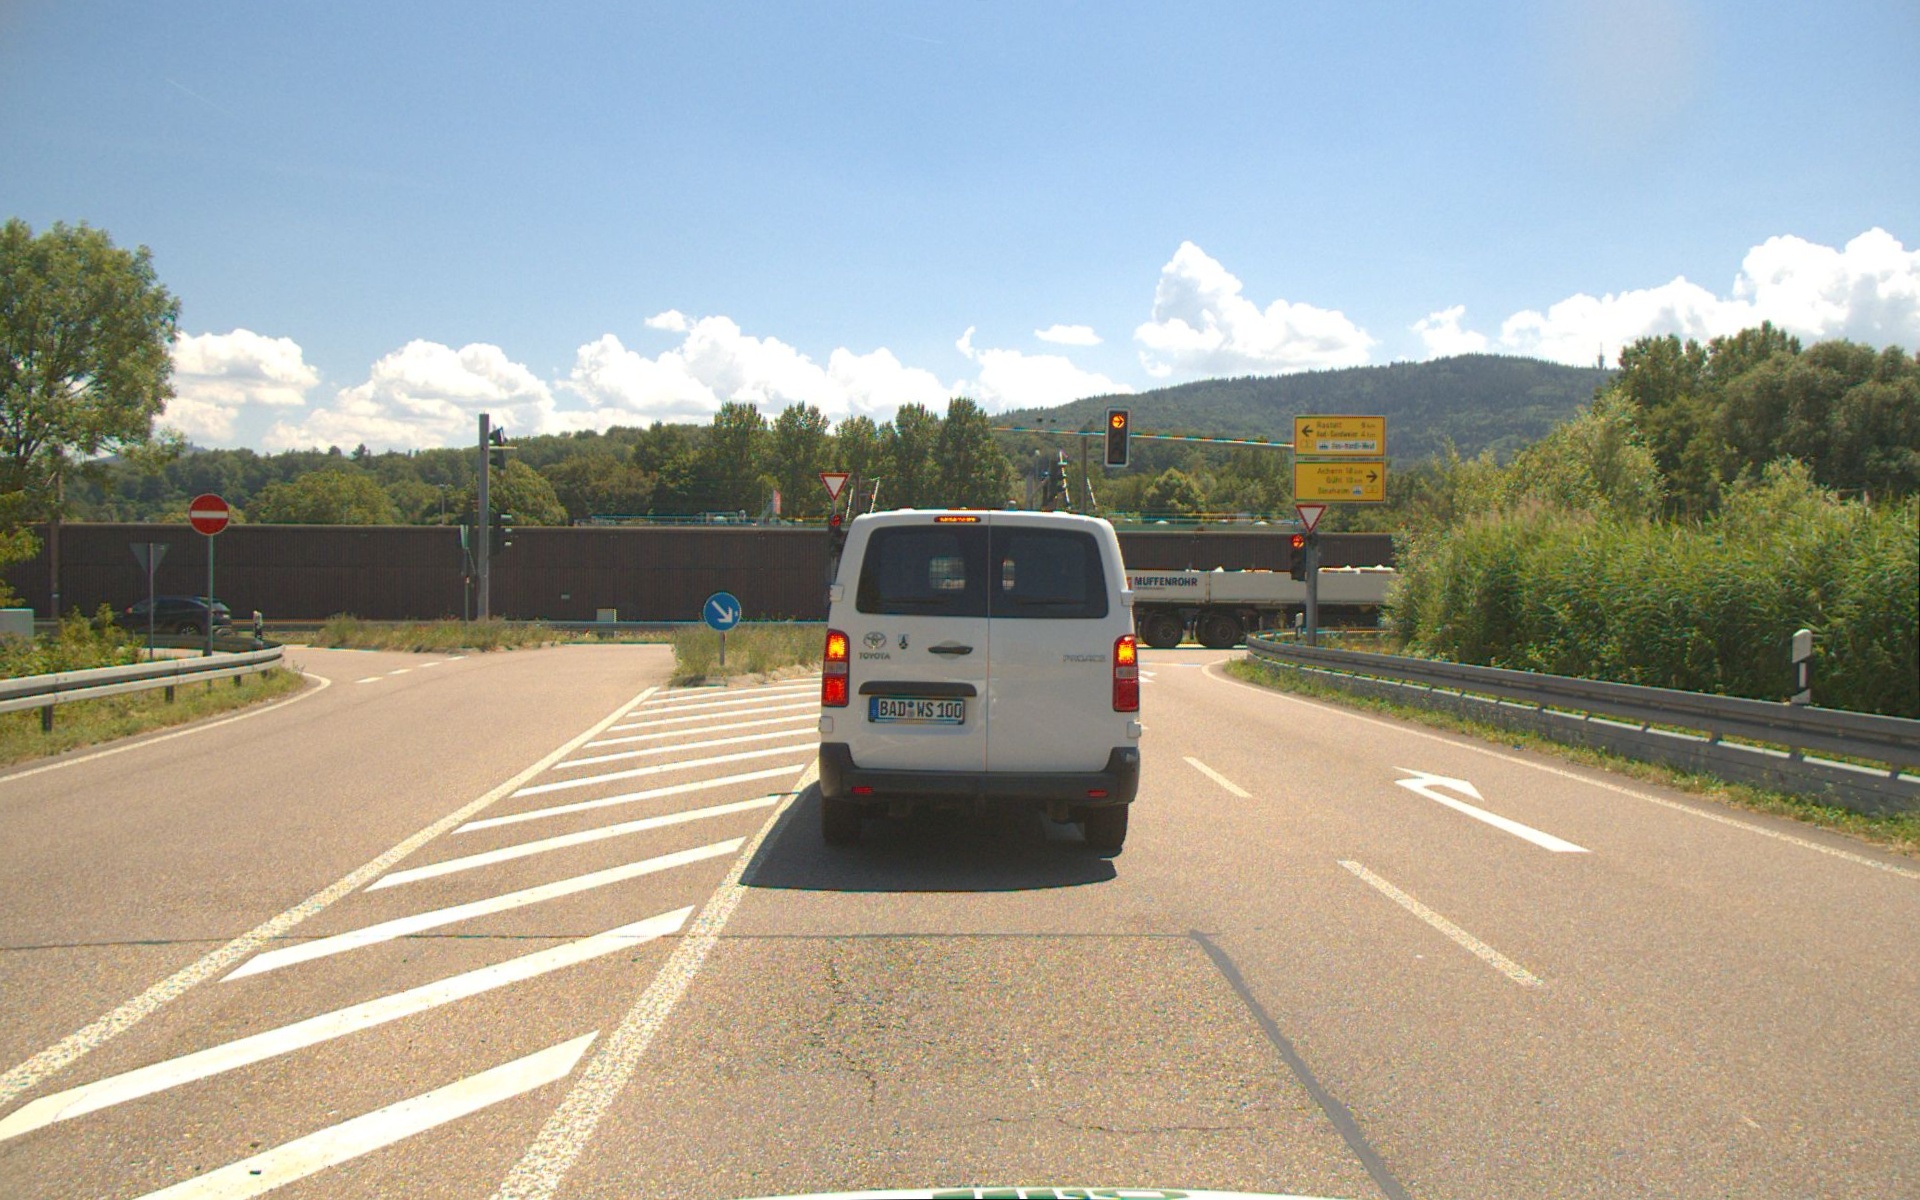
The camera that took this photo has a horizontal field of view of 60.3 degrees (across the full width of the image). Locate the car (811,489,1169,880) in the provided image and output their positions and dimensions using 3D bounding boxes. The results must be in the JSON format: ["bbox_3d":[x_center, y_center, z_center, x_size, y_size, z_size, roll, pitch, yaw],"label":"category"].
[{"bbox_3d":[0.123,0.440,10.563,1.832,1.999,3.999,1,0,-1],"label":"car"}]

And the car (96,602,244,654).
[{"bbox_3d":[-26.895,0.936,56.401,4.016,1.500,1.948,-3,2,-3],"label":"car"}]

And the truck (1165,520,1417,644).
[{"bbox_3d":[10.134,-0.573,50.943,7.258,3.565,2.231,-1,1,-4],"label":"truck"}]

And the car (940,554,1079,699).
[{"bbox_3d":[0.687,0.382,25.736,1.953,2.048,3.999,-1,0,-1],"label":"car"}]

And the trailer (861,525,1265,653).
[{"bbox_3d":[3.078,-0.368,50.497,12.076,3.565,2.231,-1,1,-4],"label":"trailer"}]
